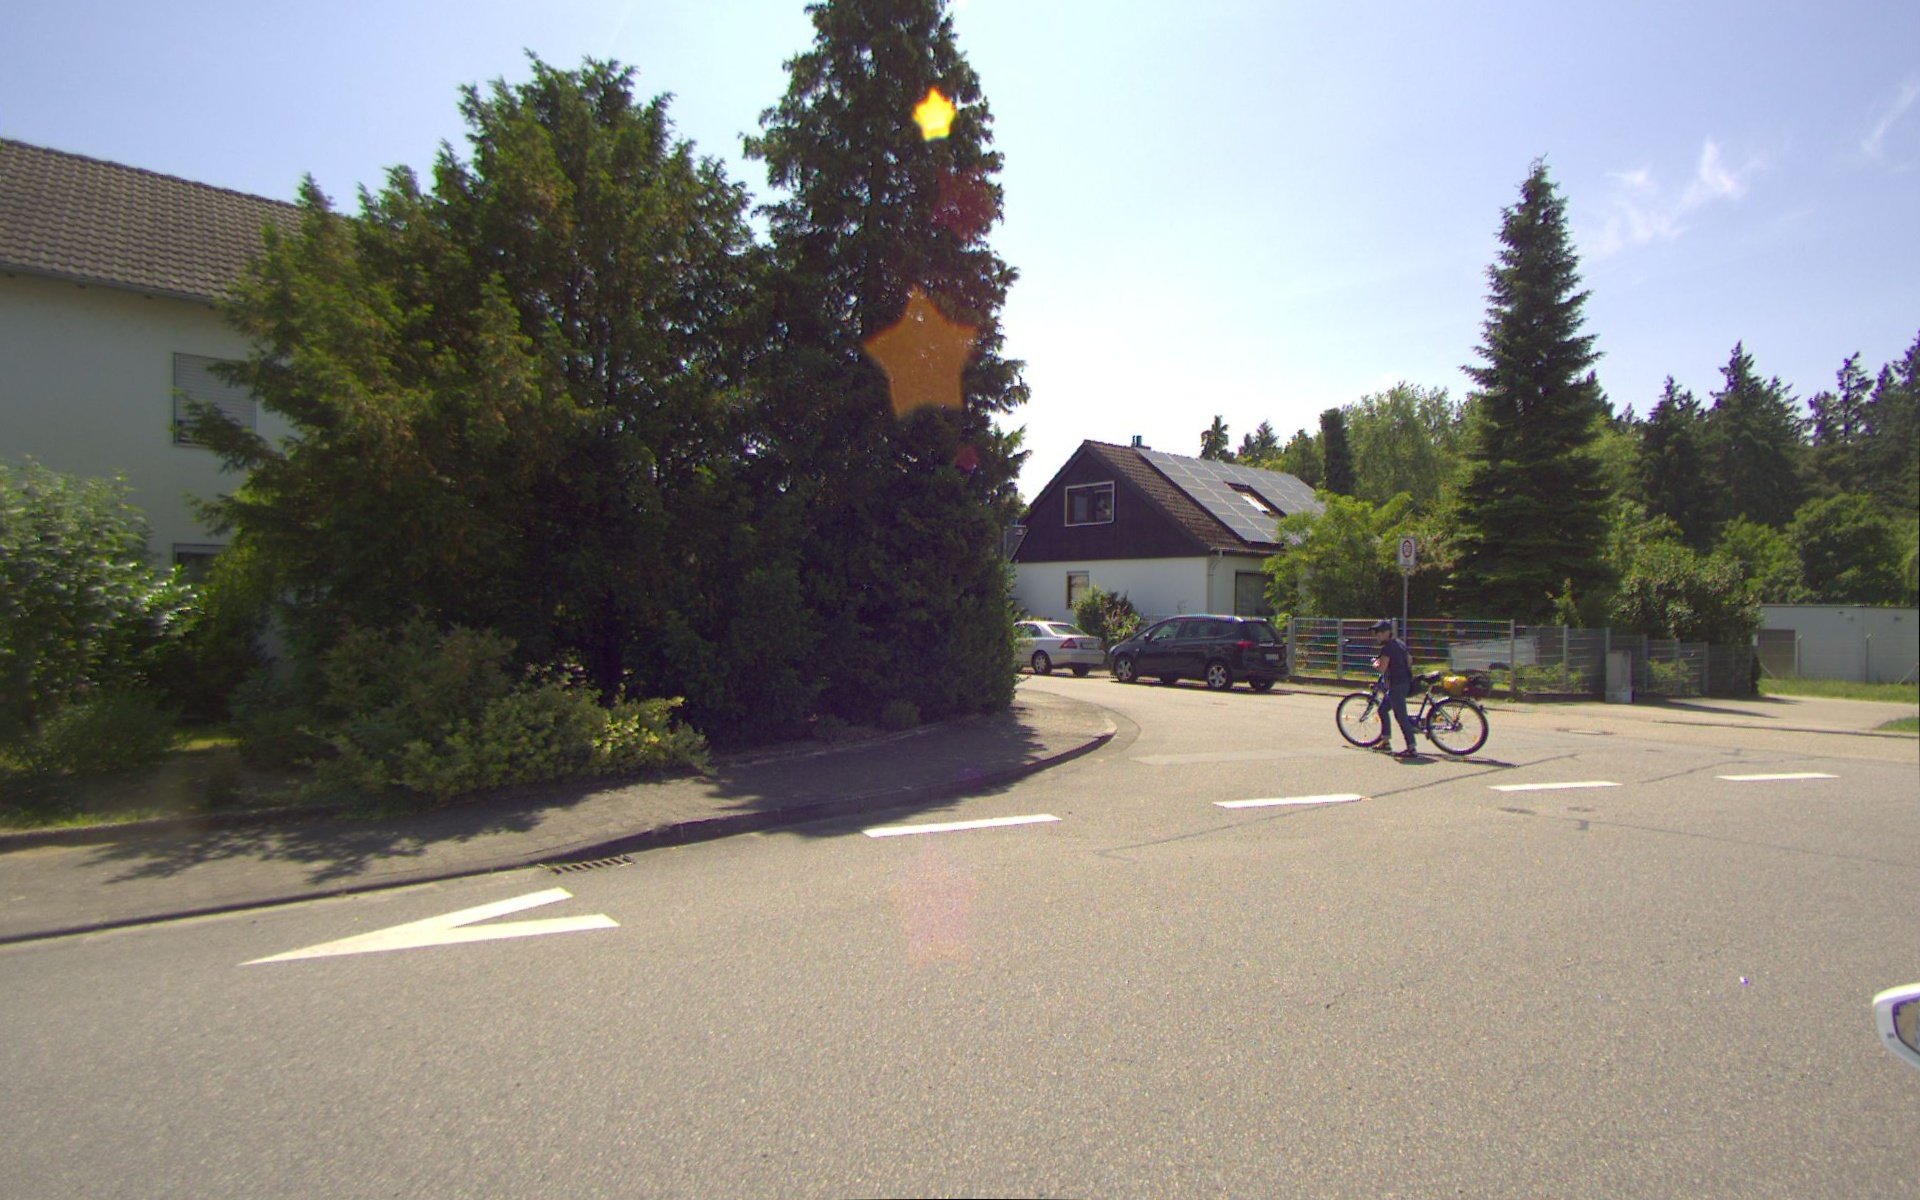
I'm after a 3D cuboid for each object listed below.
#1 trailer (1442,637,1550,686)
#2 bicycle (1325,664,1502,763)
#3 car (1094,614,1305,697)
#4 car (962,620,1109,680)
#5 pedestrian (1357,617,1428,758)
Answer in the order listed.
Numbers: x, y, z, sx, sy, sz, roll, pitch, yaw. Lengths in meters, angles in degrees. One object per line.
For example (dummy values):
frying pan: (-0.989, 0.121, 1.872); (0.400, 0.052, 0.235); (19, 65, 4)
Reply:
trailer: (13.541, 1.521, 25.395); (2.191, 1.098, 1.100); (1, -1, 44)
bicycle: (5.232, 1.279, 11.680); (1.821, 0.976, 0.441); (1, 0, 40)
car: (5.499, 1.223, 23.615); (1.952, 1.684, 4.632); (1, -1, -37)
car: (2.016, 1.326, 27.958); (1.677, 1.479, 4.290); (1, -1, -37)
pedestrian: (4.883, 0.962, 11.344); (0.603, 1.521, 0.502); (1, 0, 41)
